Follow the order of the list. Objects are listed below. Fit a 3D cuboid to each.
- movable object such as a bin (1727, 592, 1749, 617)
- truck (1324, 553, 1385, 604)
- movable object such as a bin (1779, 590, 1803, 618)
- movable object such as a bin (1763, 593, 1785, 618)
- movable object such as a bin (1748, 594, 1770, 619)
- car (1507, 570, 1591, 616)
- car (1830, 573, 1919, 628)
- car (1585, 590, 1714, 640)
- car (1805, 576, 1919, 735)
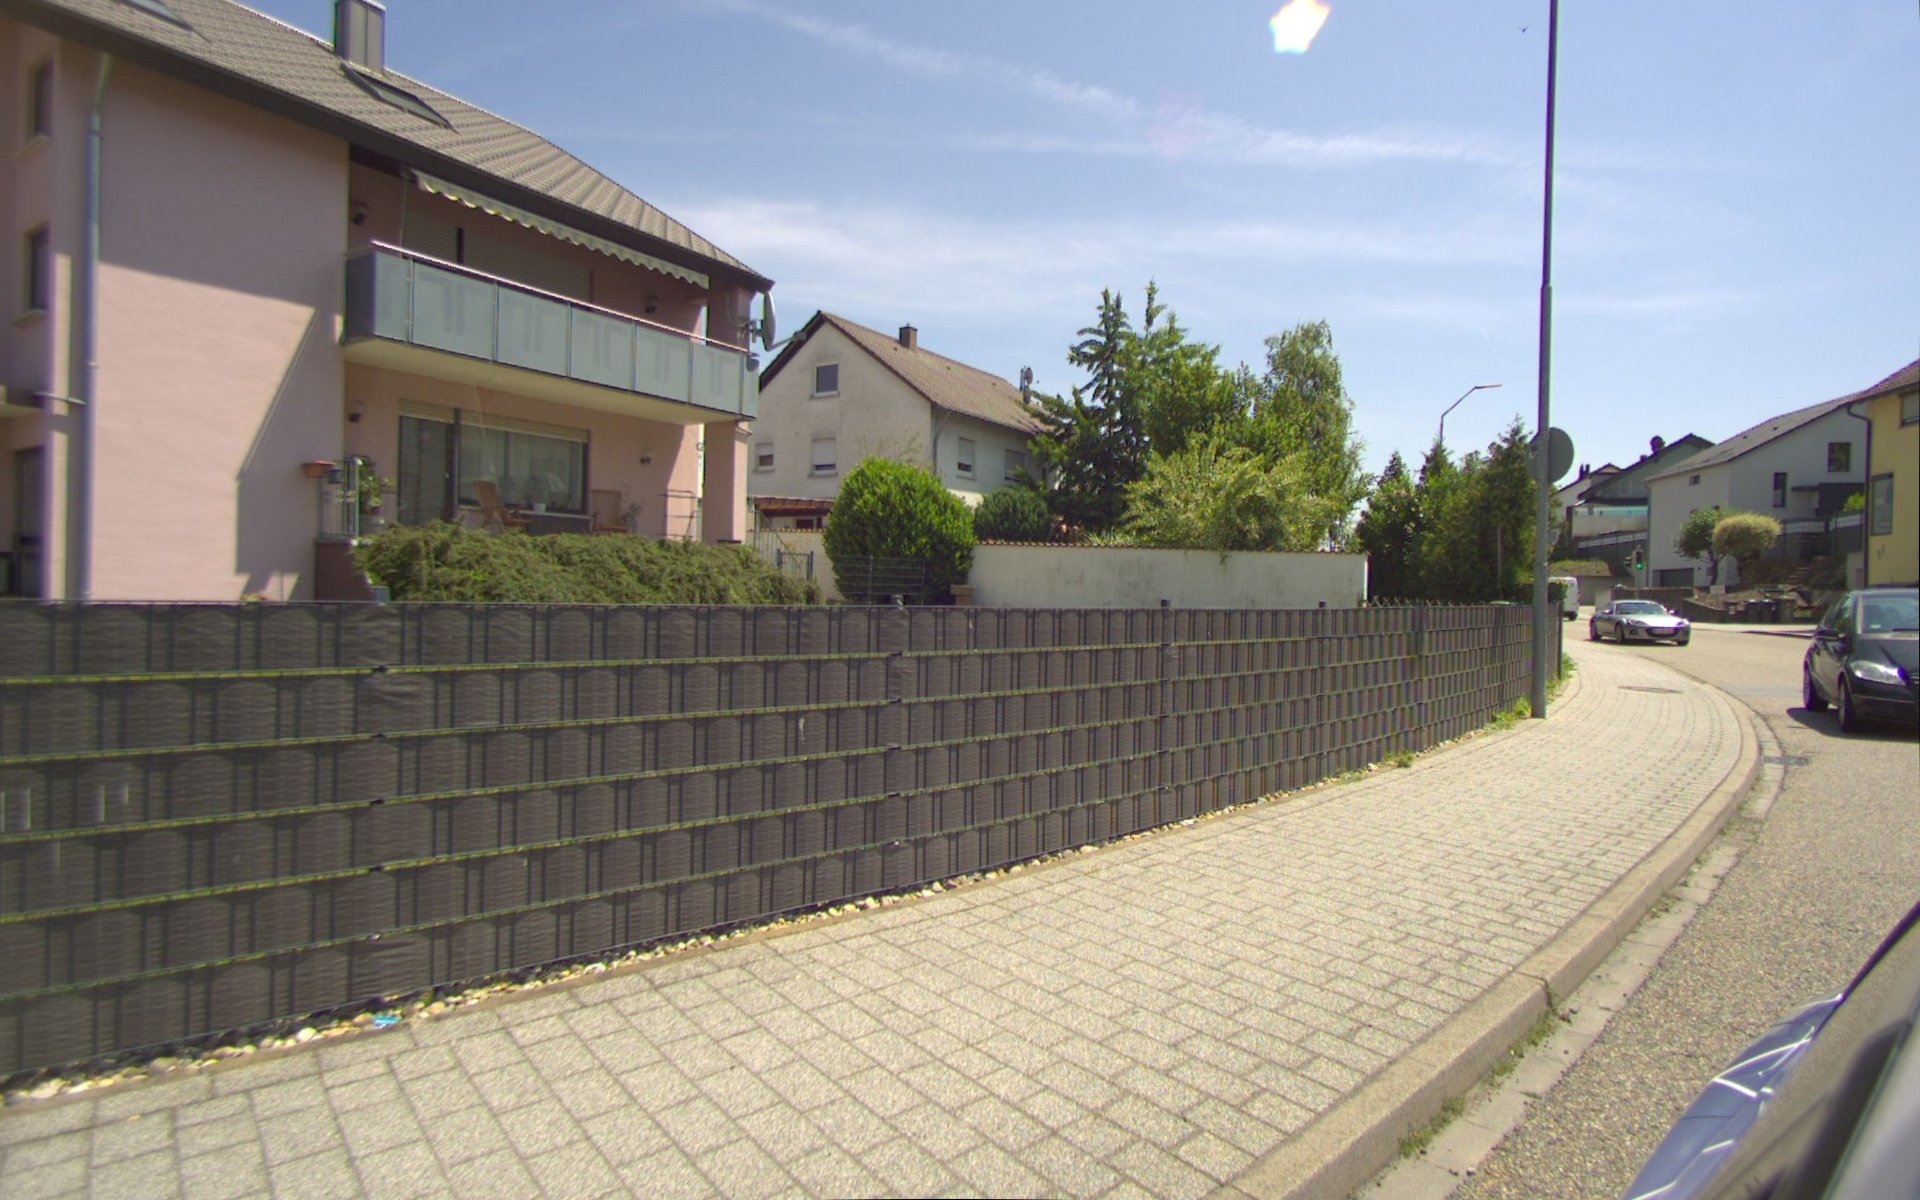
[{"bbox_3d":[30.318,0.162,39.441,0.494,0.960,0.552,0,1,13],"label":"movable object such as a bin"},{"bbox_3d":[31.624,-1.734,81.531,3.158,3.643,8.275,4,2,13],"label":"truck"},{"bbox_3d":[31.997,0.154,38.954,0.465,1.068,0.632,0,1,13],"label":"movable object such as a bin"},{"bbox_3d":[31.487,0.227,39.154,0.441,0.950,0.529,0,1,13],"label":"movable object such as a bin"},{"bbox_3d":[30.987,0.238,39.247,0.441,0.940,0.560,0,1,13],"label":"movable object such as a bin"},{"bbox_3d":[27.803,-0.368,47.970,1.970,2.024,5.194,-1,1,13],"label":"car"},{"bbox_3d":[28.579,-0.009,30.600,1.710,1.571,4.171,0,1,14],"label":"car"},{"bbox_3d":[20.108,0.395,29.731,1.788,1.330,3.984,1,1,13],"label":"car"},{"bbox_3d":[11.220,0.526,11.736,1.753,1.612,4.147,0,1,34],"label":"car"}]
